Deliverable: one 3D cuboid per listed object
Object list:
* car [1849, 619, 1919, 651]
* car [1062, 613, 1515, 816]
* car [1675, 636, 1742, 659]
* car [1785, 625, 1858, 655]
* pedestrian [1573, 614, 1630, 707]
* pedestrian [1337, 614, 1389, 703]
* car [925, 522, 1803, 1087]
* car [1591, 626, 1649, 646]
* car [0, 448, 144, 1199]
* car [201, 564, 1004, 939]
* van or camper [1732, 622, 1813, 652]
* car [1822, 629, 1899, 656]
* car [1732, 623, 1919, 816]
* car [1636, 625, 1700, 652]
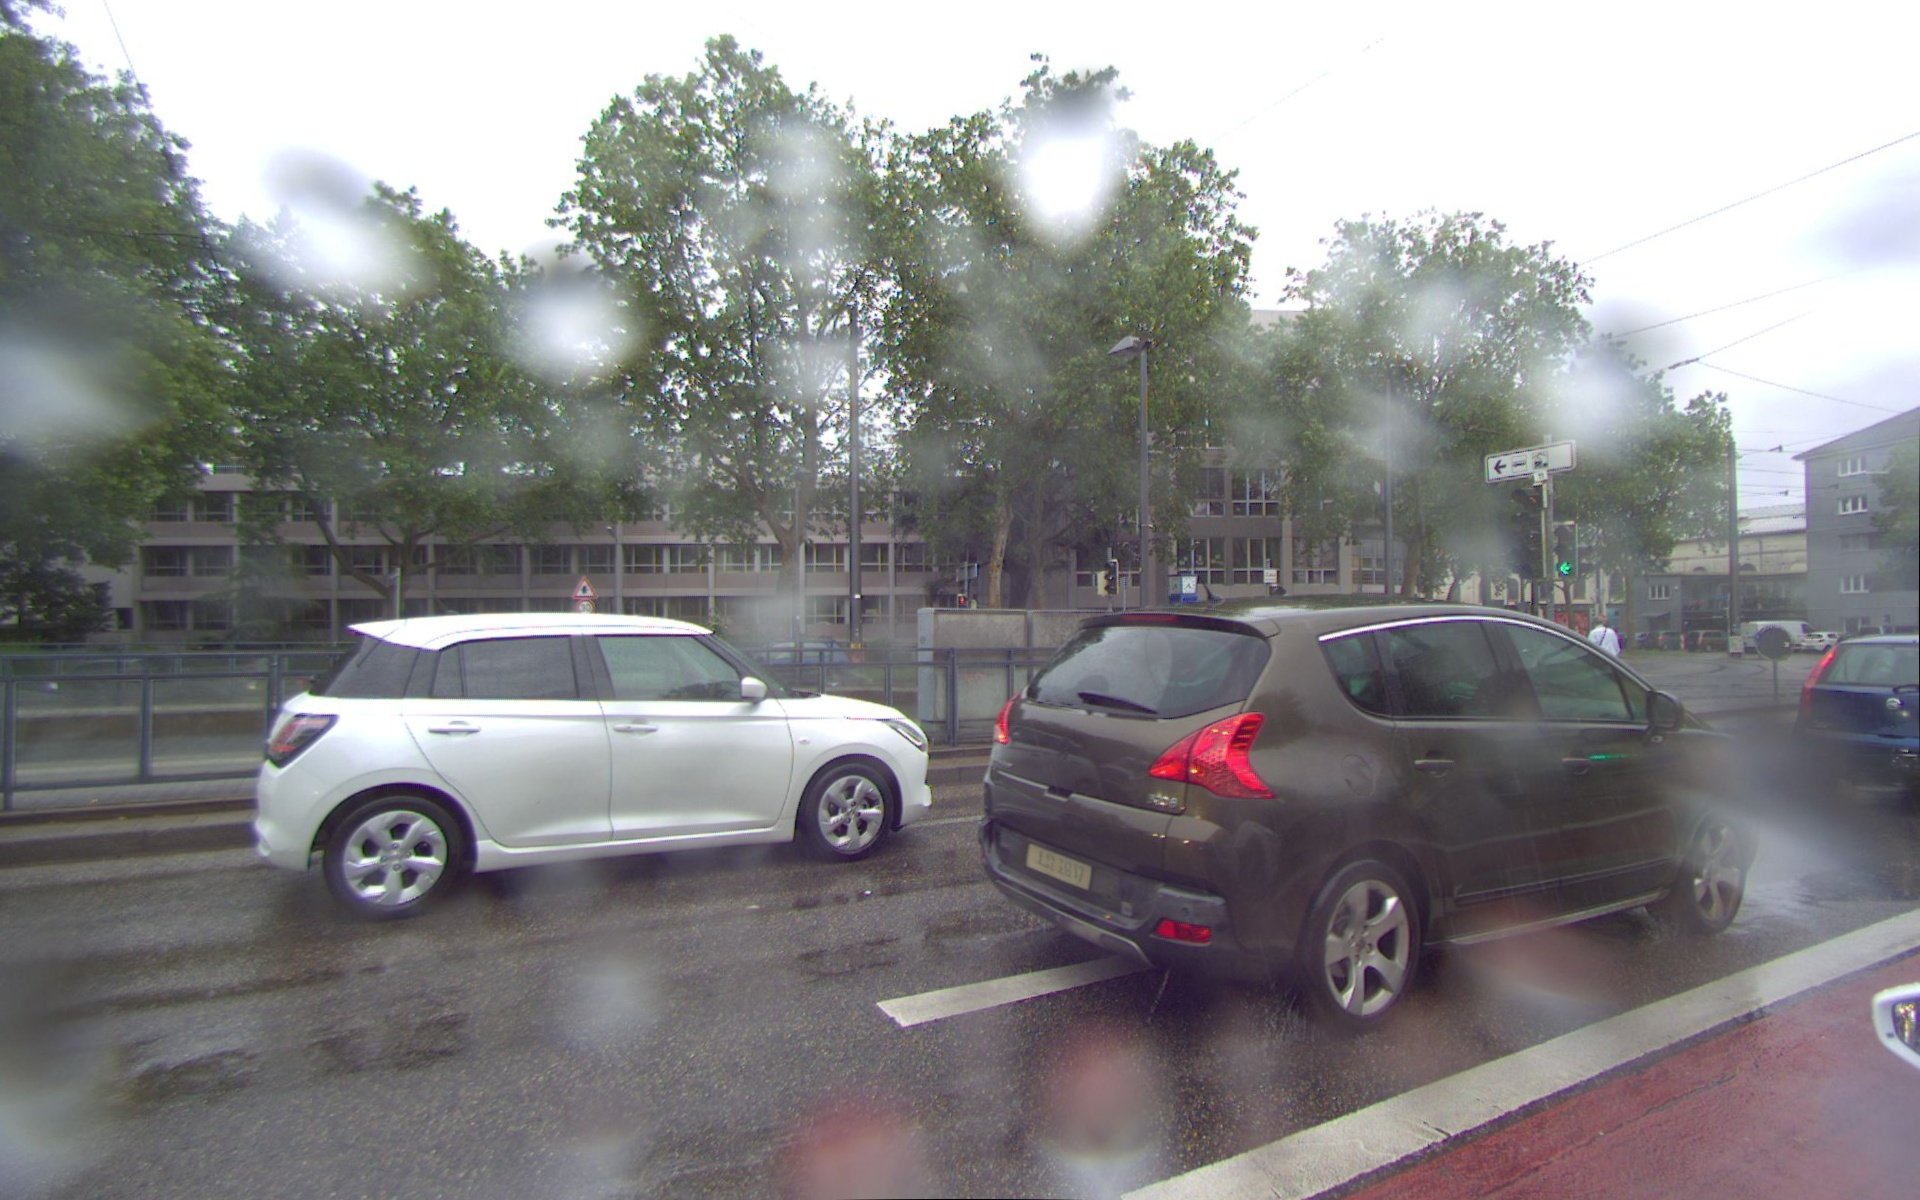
[{"bbox_3d":[61.275,2.273,65.797,4.310,2.040,2.068,0,0,0],"label":"car"},{"bbox_3d":[3.183,0.918,9.581,4.140,1.557,1.799,0,-1,-29],"label":"car"},{"bbox_3d":[58.882,3.739,79.034,3.924,1.635,1.999,2,-1,-5],"label":"car"},{"bbox_3d":[60.952,2.802,71.066,3.931,2.040,1.995,0,-1,-13],"label":"car"},{"bbox_3d":[11.589,1.081,18.166,0.721,1.631,0.717,-1,-1,22],"label":"pedestrian"},{"bbox_3d":[8.048,1.156,20.073,0.932,1.734,0.830,-1,-1,22],"label":"pedestrian"},{"bbox_3d":[2.067,0.634,4.888,4.140,1.732,1.794,0,0,-29],"label":"car"},{"bbox_3d":[59.196,3.223,90.150,3.921,1.787,2.000,-1,-1,0],"label":"car"},{"bbox_3d":[-4.188,0.525,1.293,4.627,1.668,1.898,0,0,-32],"label":"car"},{"bbox_3d":[-1.910,0.667,6.077,4.022,1.608,1.794,0,-1,-28],"label":"car"},{"bbox_3d":[59.649,2.693,73.778,4.568,2.102,1.998,1,-1,-7],"label":"van or camper"},{"bbox_3d":[61.657,2.918,68.763,3.930,1.647,1.952,2,0,-11],"label":"car"},{"bbox_3d":[8.946,0.997,9.011,3.786,1.478,1.874,2,-1,-29],"label":"car"},{"bbox_3d":[58.807,3.209,83.478,3.921,2.040,2.000,2,0,0],"label":"car"}]
